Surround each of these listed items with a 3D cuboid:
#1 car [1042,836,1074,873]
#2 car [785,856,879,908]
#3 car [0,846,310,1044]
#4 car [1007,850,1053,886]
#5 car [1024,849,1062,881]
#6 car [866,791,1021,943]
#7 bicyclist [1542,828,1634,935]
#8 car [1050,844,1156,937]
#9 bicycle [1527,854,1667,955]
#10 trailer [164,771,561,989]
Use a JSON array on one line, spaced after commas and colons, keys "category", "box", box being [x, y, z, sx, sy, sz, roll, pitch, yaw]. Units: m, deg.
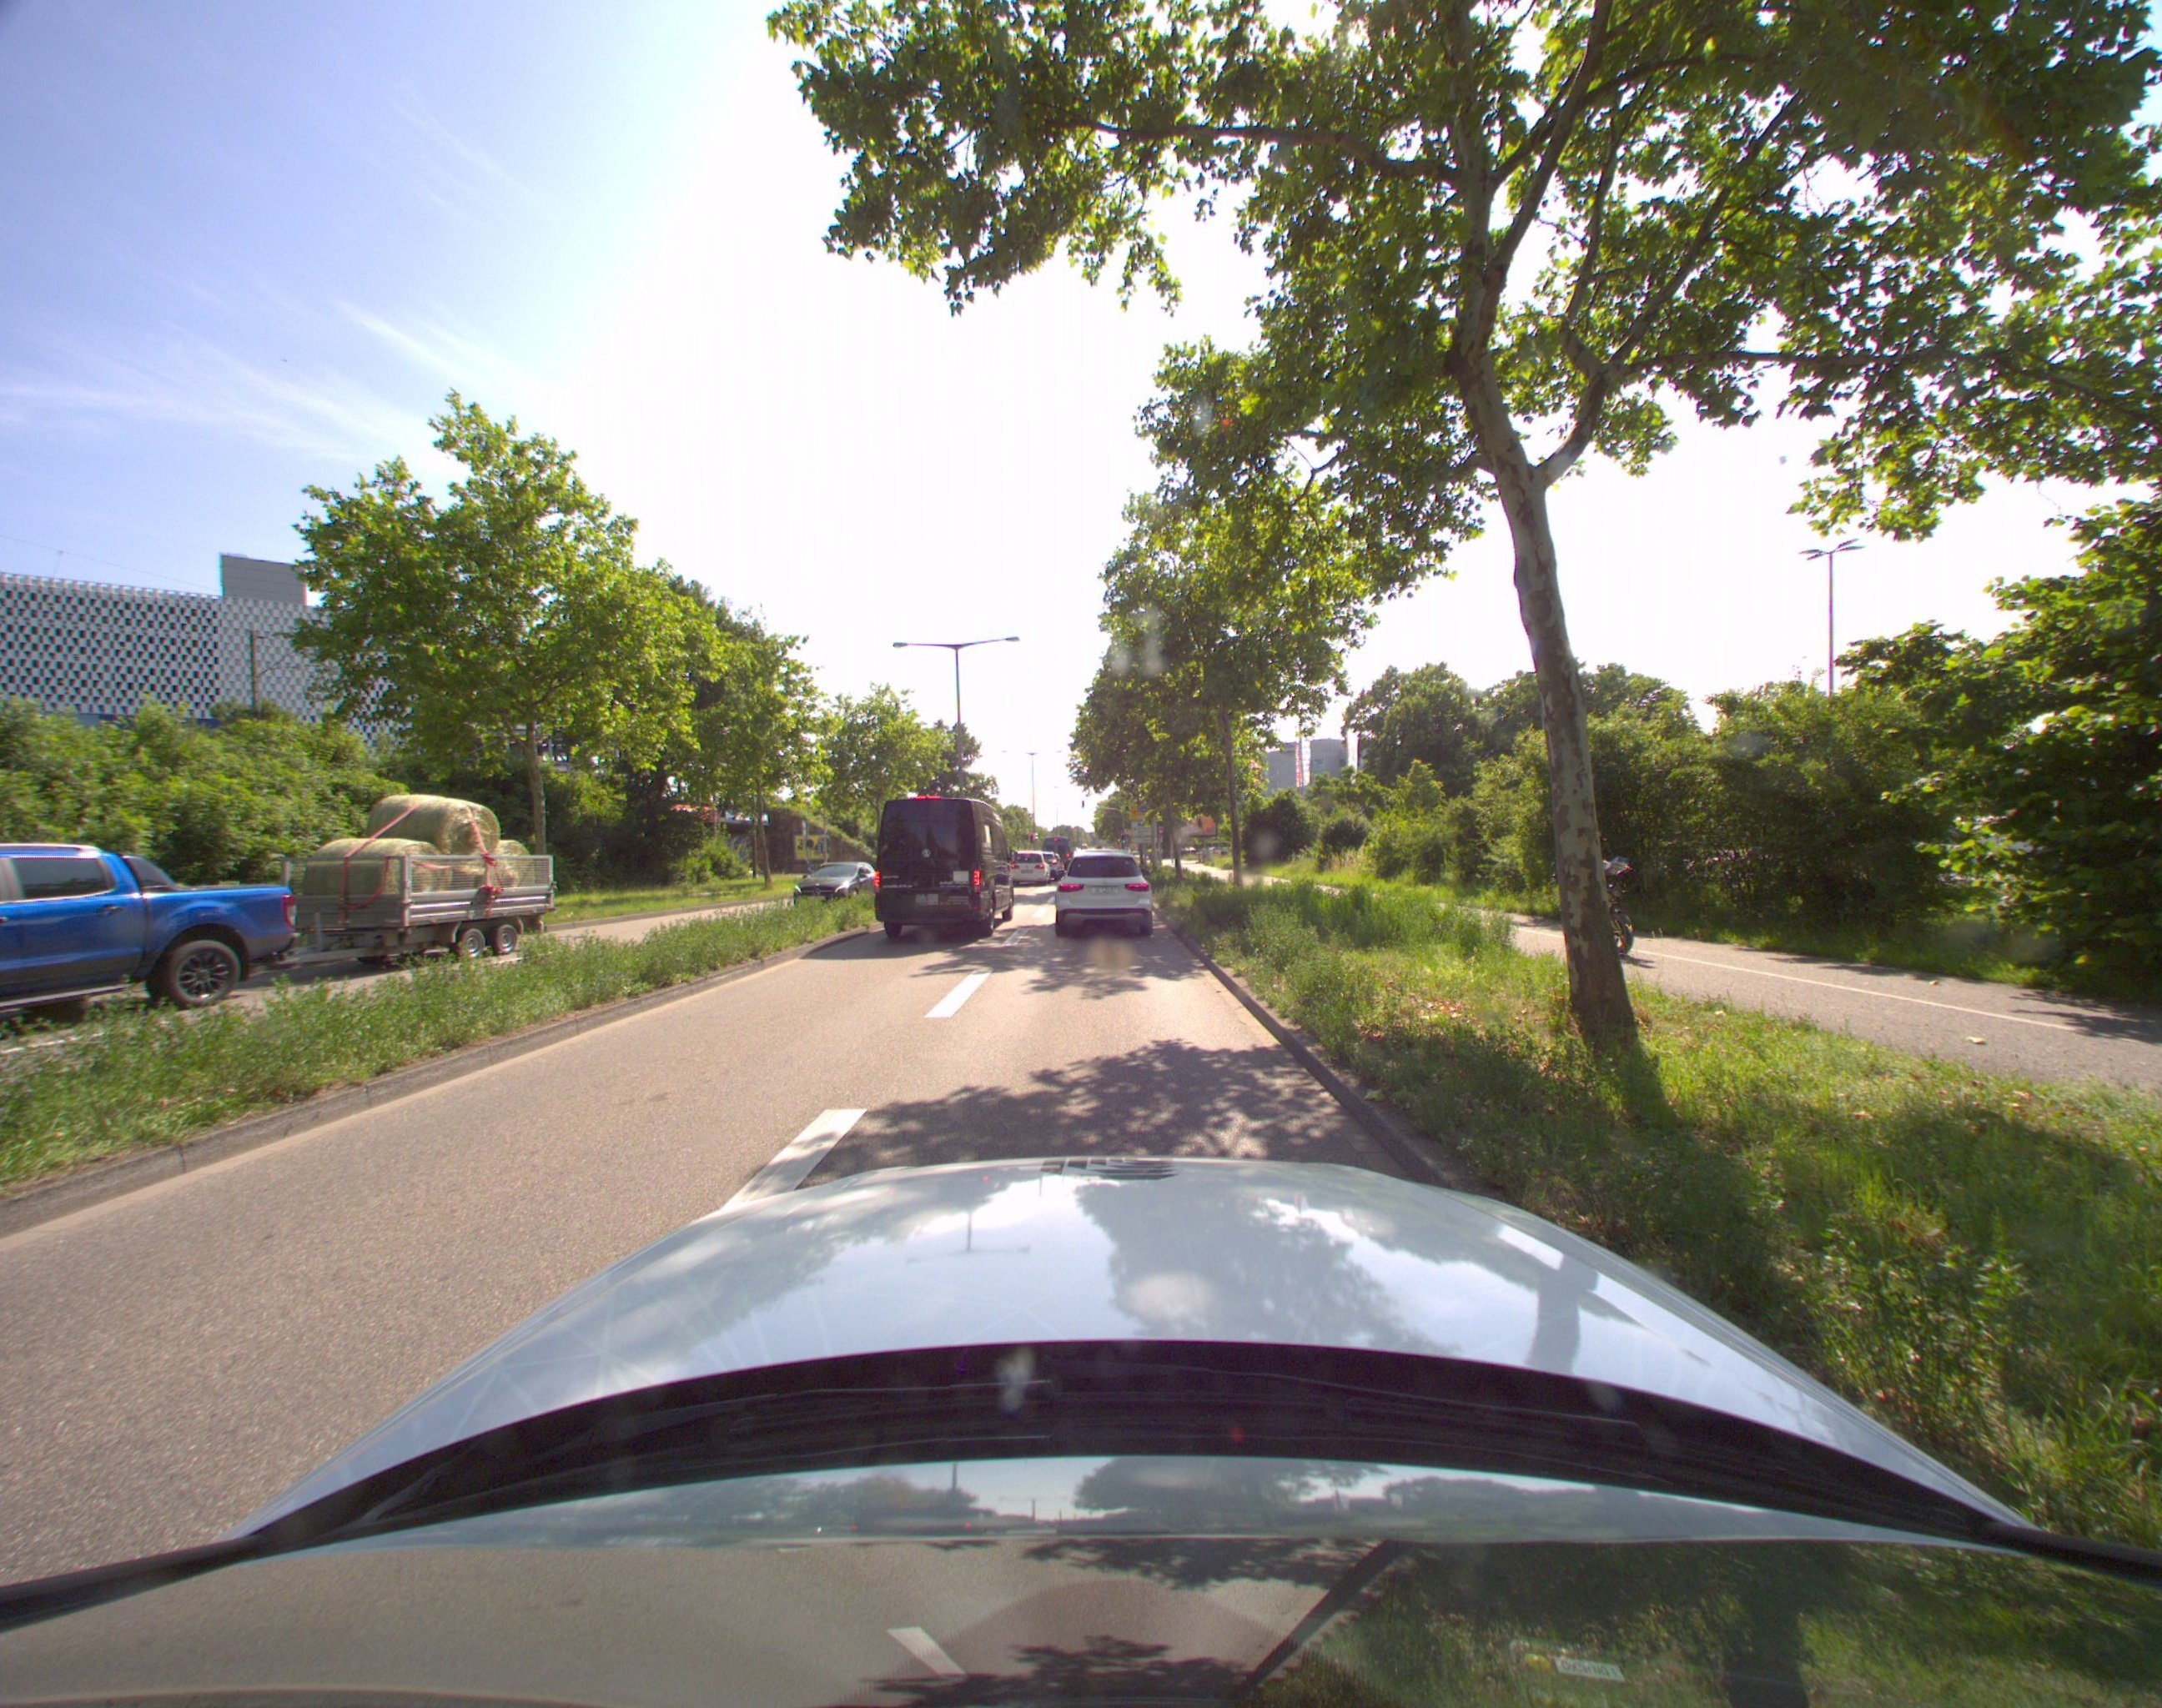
[{"category": "car", "box": [-1.672, 0.035, 61.095, 2.073, 2.656, 4.876, 0, 0, 2]}, {"category": "car", "box": [-7.609, 0.804, 25.229, 1.597, 1.472, 3.792, -1, 0, 2]}, {"category": "car", "box": [-10.624, 0.815, 7.578, 1.759, 1.789, 5.375, 0, 0, 0]}, {"category": "car", "box": [-2.383, 0.641, 39.006, 1.765, 1.647, 4.354, -1, 0, 2]}, {"category": "car", "box": [-2.064, 0.600, 44.953, 1.765, 1.647, 4.086, -1, 0, 2]}, {"category": "car", "box": [-2.590, 0.235, 17.084, 2.008, 2.607, 6.171, 0, 0, 2]}, {"category": "bicyclist", "box": [7.286, 0.382, 11.746, 0.701, 1.477, 1.010, -1, 0, 2]}, {"category": "car", "box": [0.446, 0.649, 16.563, 1.847, 1.607, 4.001, -2, 0, 1]}, {"category": "bicycle", "box": [7.266, 0.659, 11.617, 0.720, 1.299, 2.096, -1, 0, 2]}, {"category": "trailer", "box": [-10.618, 0.337, 12.705, 1.874, 2.744, 4.827, 0, 0, 0]}]
